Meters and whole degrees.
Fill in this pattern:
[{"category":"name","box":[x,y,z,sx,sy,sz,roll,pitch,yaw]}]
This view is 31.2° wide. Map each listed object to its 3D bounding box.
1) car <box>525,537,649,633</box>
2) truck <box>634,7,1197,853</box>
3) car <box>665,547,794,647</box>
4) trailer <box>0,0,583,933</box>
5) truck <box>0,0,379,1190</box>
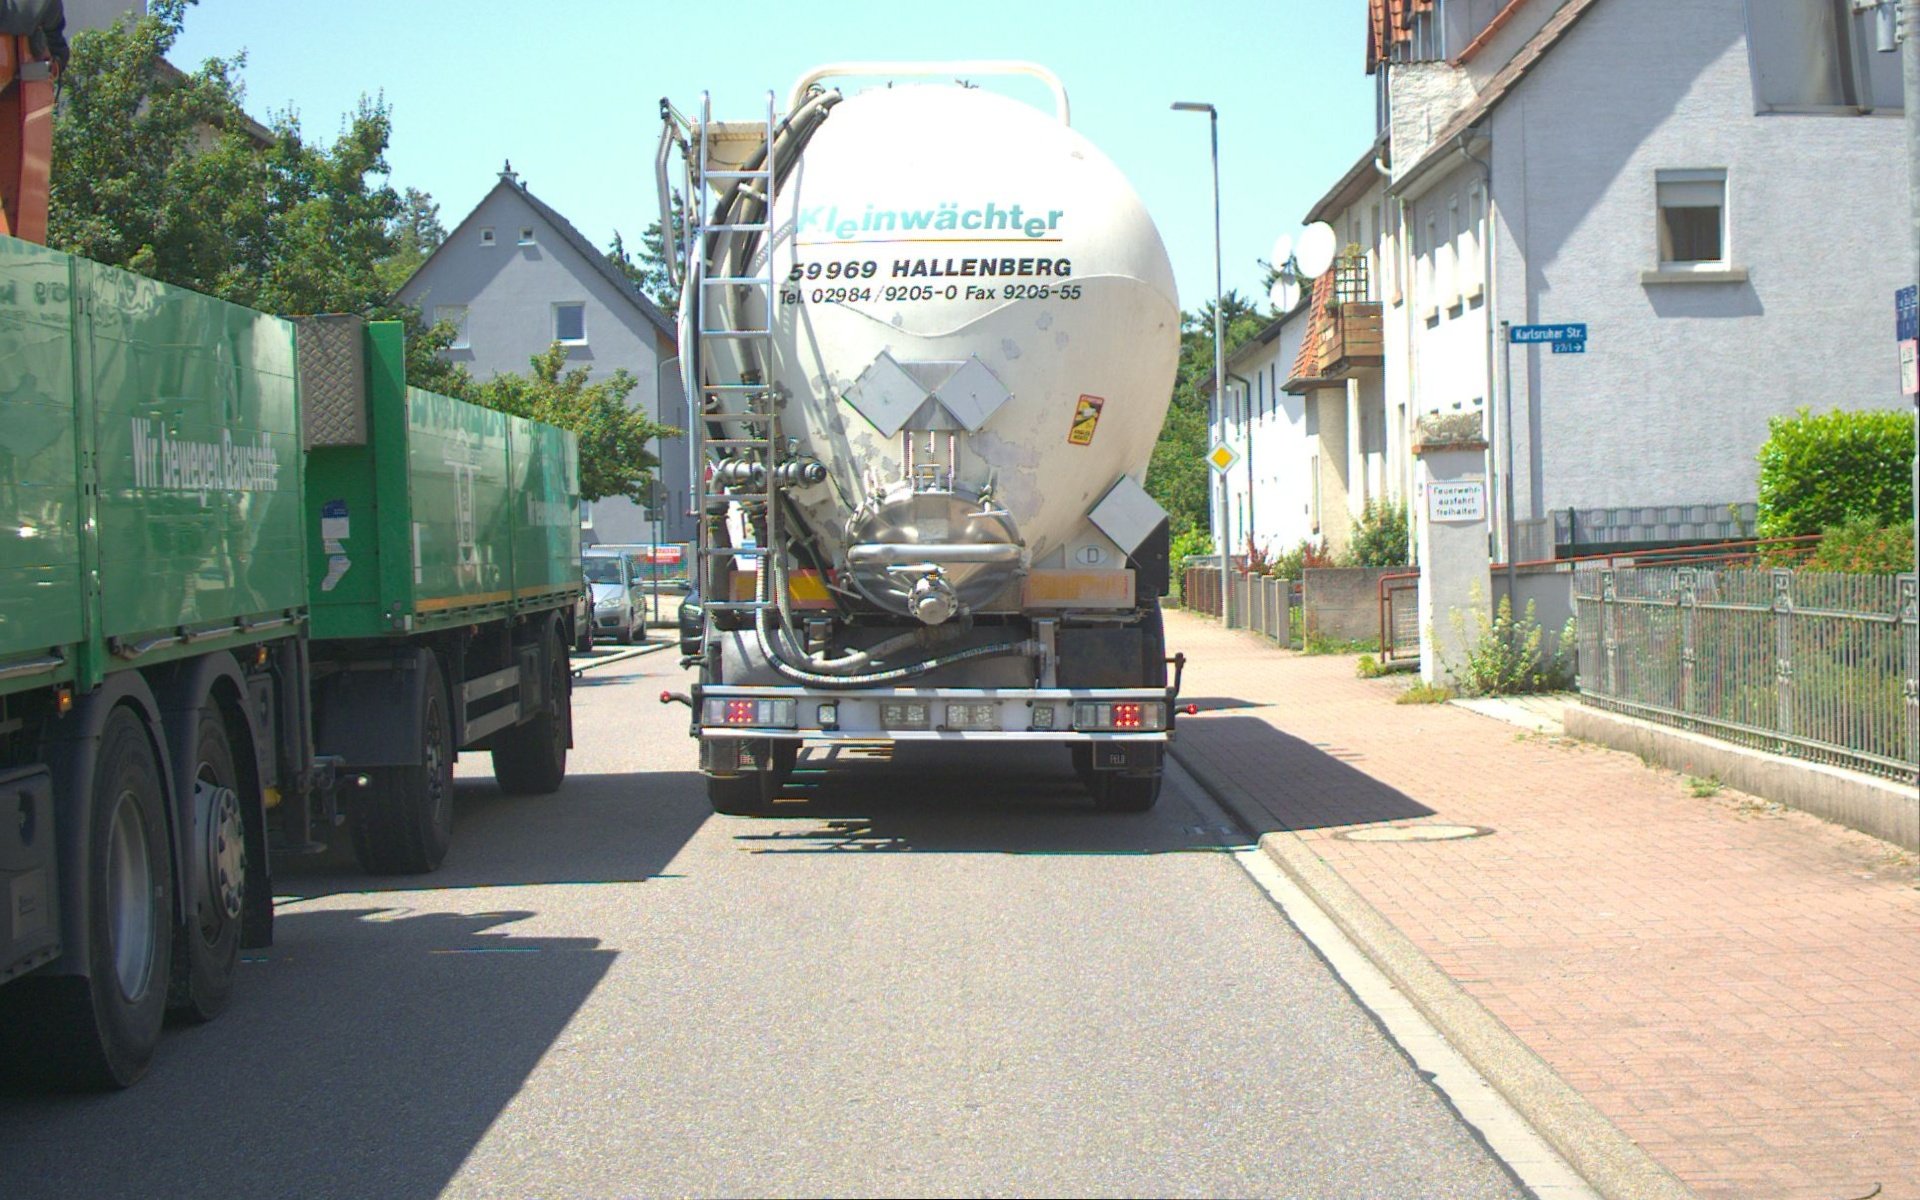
[{"category":"car","box":[-6.293,-0.274,58.350,1.697,1.575,3.838,0,1,0]},{"category":"truck","box":[-0.285,-0.889,21.143,2.641,4.002,9.562,-1,1,-1]},{"category":"car","box":[-3.603,-0.078,54.428,1.730,1.455,4.695,-2,1,0]},{"category":"trailer","box":[-3.639,-0.589,17.737,2.530,3.636,8.462,-1,1,-1]},{"category":"truck","box":[-3.541,-0.468,8.450,2.567,3.688,10.079,-2,1,-1]}]
